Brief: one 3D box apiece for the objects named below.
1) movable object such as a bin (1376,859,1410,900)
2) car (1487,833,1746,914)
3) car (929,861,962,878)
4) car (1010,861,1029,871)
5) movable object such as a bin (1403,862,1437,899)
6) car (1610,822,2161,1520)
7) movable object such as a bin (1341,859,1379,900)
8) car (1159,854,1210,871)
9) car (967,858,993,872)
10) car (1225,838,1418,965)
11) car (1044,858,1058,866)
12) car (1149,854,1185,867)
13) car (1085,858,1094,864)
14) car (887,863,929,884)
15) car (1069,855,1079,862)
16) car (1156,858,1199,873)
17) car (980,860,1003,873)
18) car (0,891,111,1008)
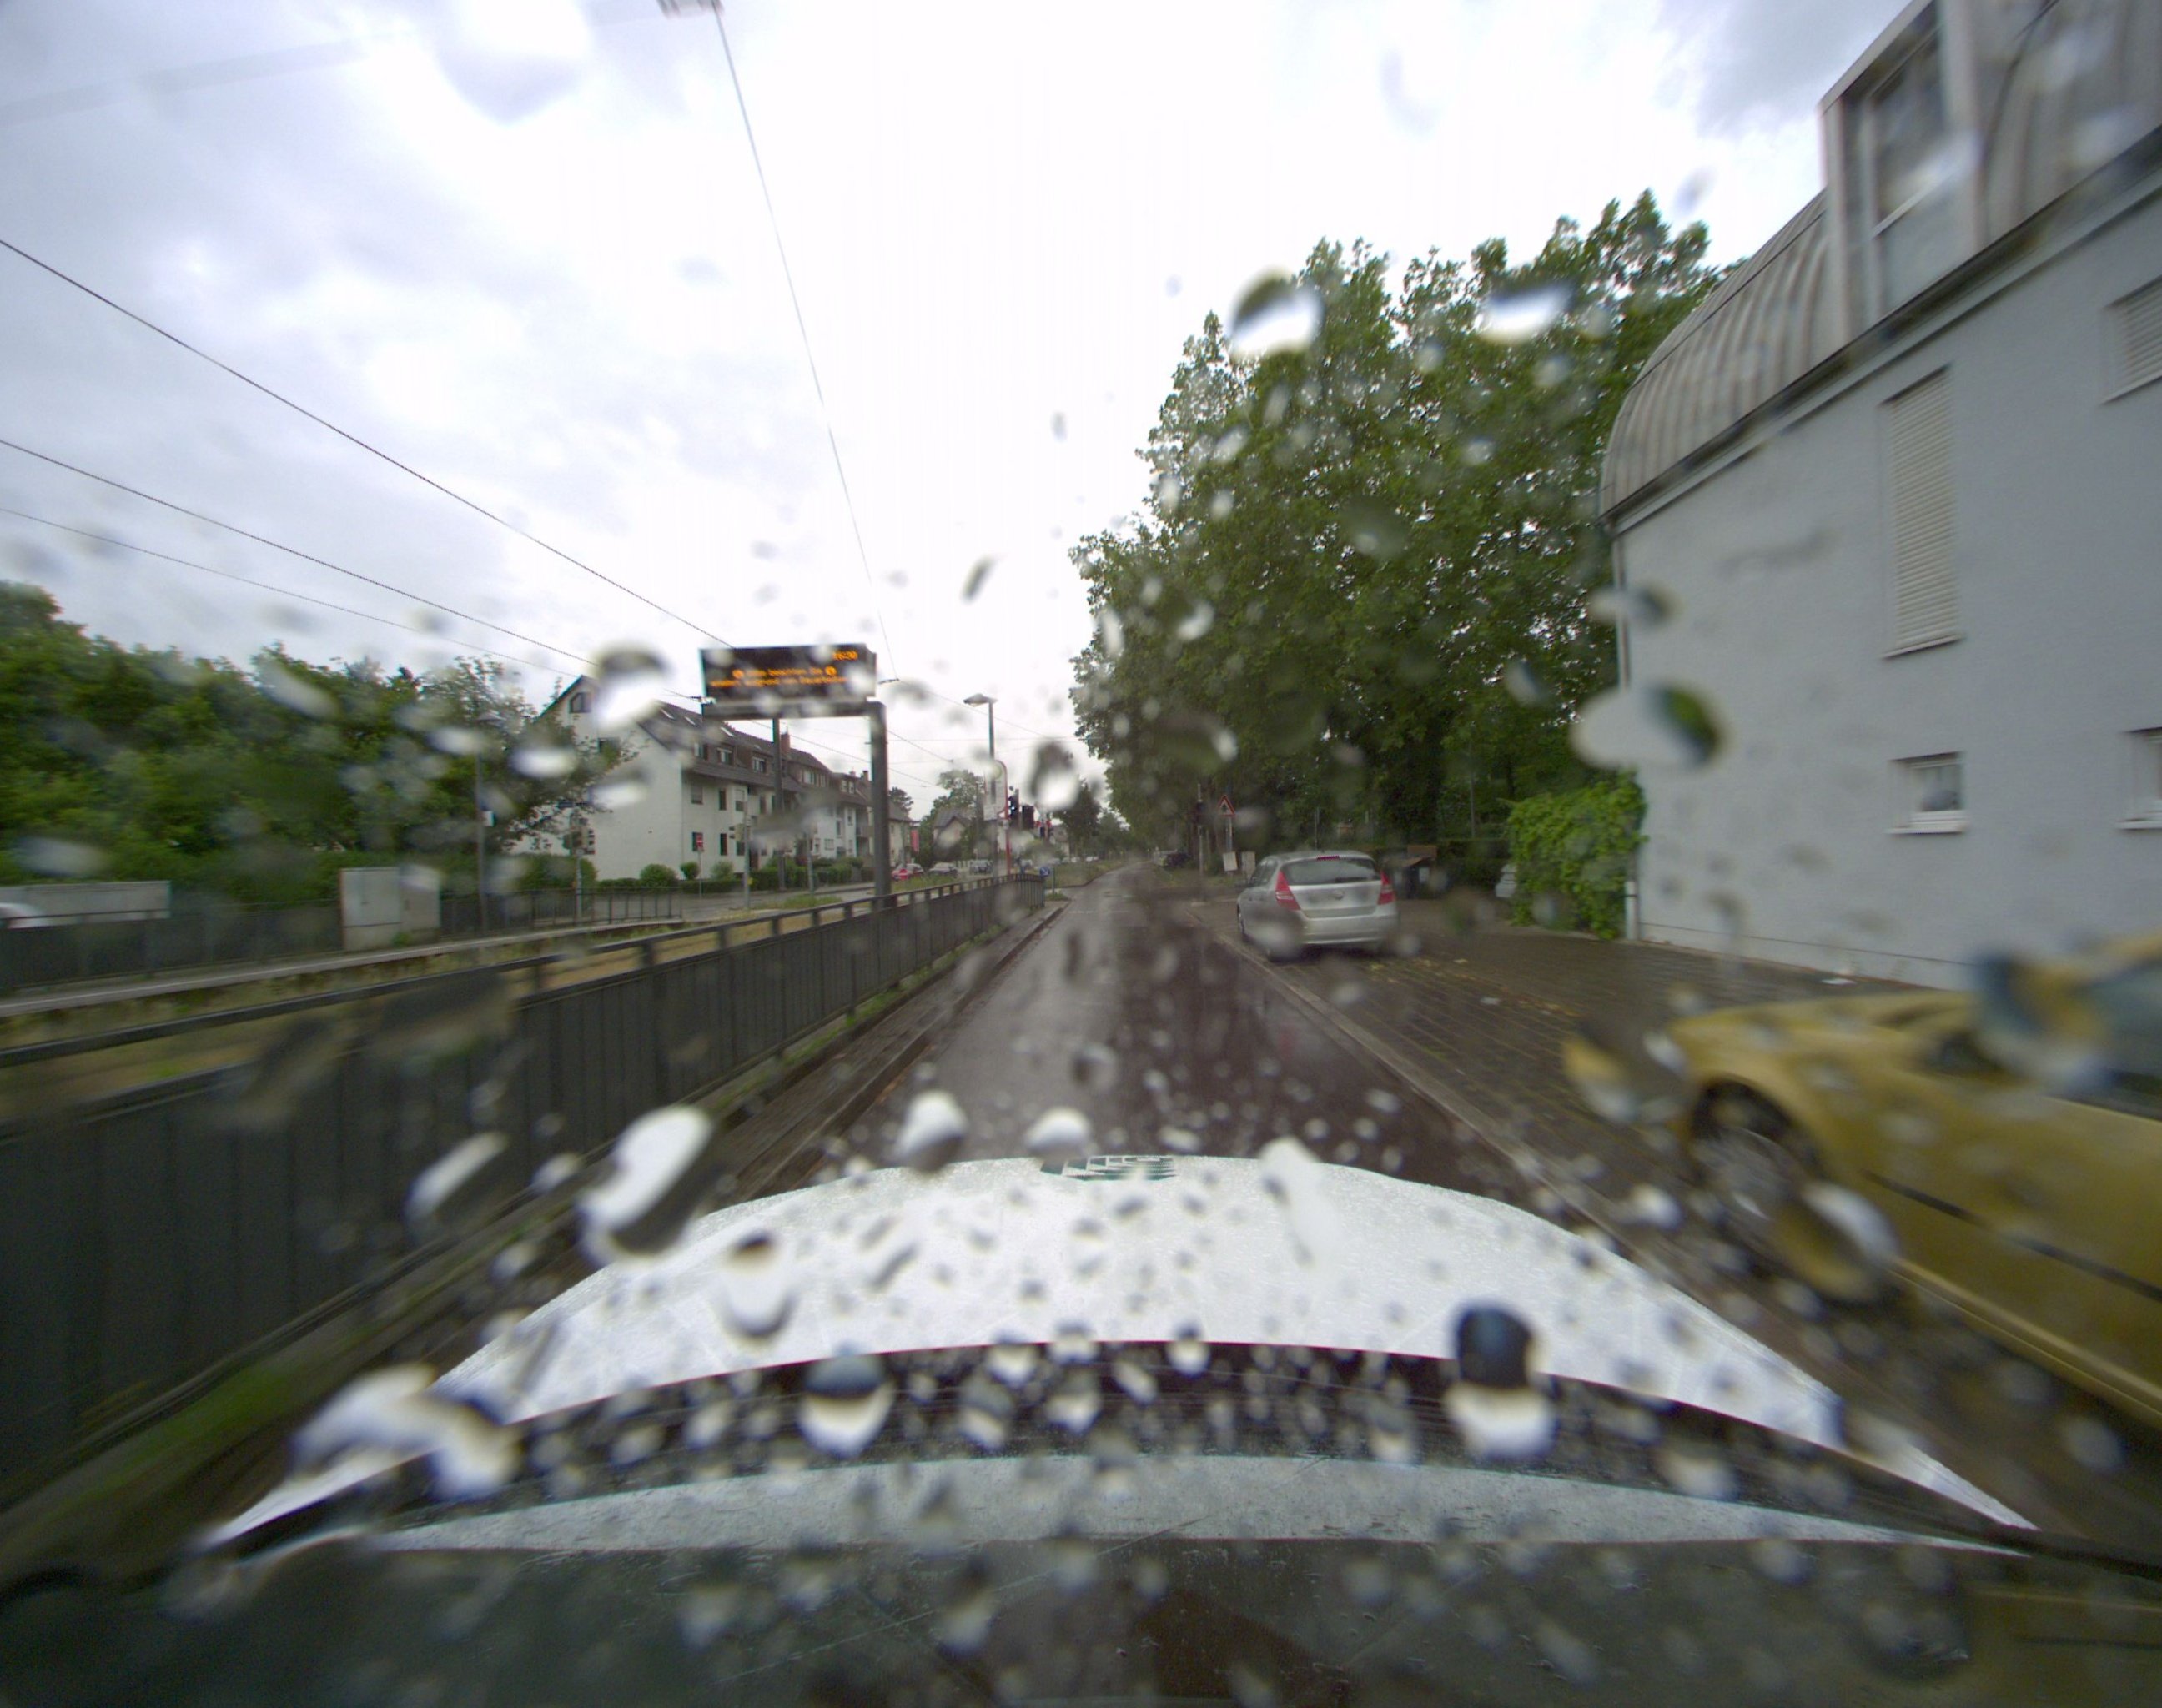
[{"bbox_3d":[8.126,0.659,21.225,0.534,1.022,0.739,-4,-1,1],"label":"movable object such as a bin"},{"bbox_3d":[9.903,0.364,15.313,3.679,1.377,1.762,-1,-1,4],"label":"car"},{"bbox_3d":[-11.998,1.353,72.239,1.919,1.486,4.006,-1,-1,5],"label":"car"},{"bbox_3d":[-8.736,1.706,115.826,1.919,1.486,4.006,-1,-1,5],"label":"car"},{"bbox_3d":[8.729,0.678,20.977,0.534,0.899,0.739,-4,-1,1],"label":"movable object such as a bin"},{"bbox_3d":[3.126,0.635,1.536,1.800,1.405,3.796,-5,-1,2],"label":"car"},{"bbox_3d":[7.479,0.674,21.862,0.690,1.022,0.824,-4,-1,1],"label":"movable object such as a bin"},{"bbox_3d":[9.081,0.742,71.375,3.990,1.453,1.991,-1,-1,-13],"label":"car"},{"bbox_3d":[-11.062,1.201,89.301,1.919,1.486,4.006,-1,-1,5],"label":"car"},{"bbox_3d":[3.379,0.636,12.220,1.800,1.467,3.796,-5,-1,2],"label":"car"},{"bbox_3d":[-5.518,1.524,150.231,1.919,1.486,4.006,-1,-1,5],"label":"car"},{"bbox_3d":[10.484,0.783,99.289,3.990,1.453,1.991,-1,-1,-13],"label":"car"},{"bbox_3d":[2.191,1.773,214.262,1.919,1.486,4.006,-1,-1,5],"label":"car"},{"bbox_3d":[-12.985,1.436,61.346,1.919,1.486,4.006,-1,-1,5],"label":"car"},{"bbox_3d":[-1.586,1.049,184.143,1.919,1.486,4.006,-1,-1,5],"label":"car"},{"bbox_3d":[9.891,1.139,83.667,3.990,1.453,1.991,-1,-1,-13],"label":"car"},{"bbox_3d":[-10.520,1.491,95.969,1.919,1.486,4.006,-1,-1,5],"label":"car"},{"bbox_3d":[-15.026,1.267,9.864,1.626,1.493,4.003,-1,-1,3],"label":"car"}]
